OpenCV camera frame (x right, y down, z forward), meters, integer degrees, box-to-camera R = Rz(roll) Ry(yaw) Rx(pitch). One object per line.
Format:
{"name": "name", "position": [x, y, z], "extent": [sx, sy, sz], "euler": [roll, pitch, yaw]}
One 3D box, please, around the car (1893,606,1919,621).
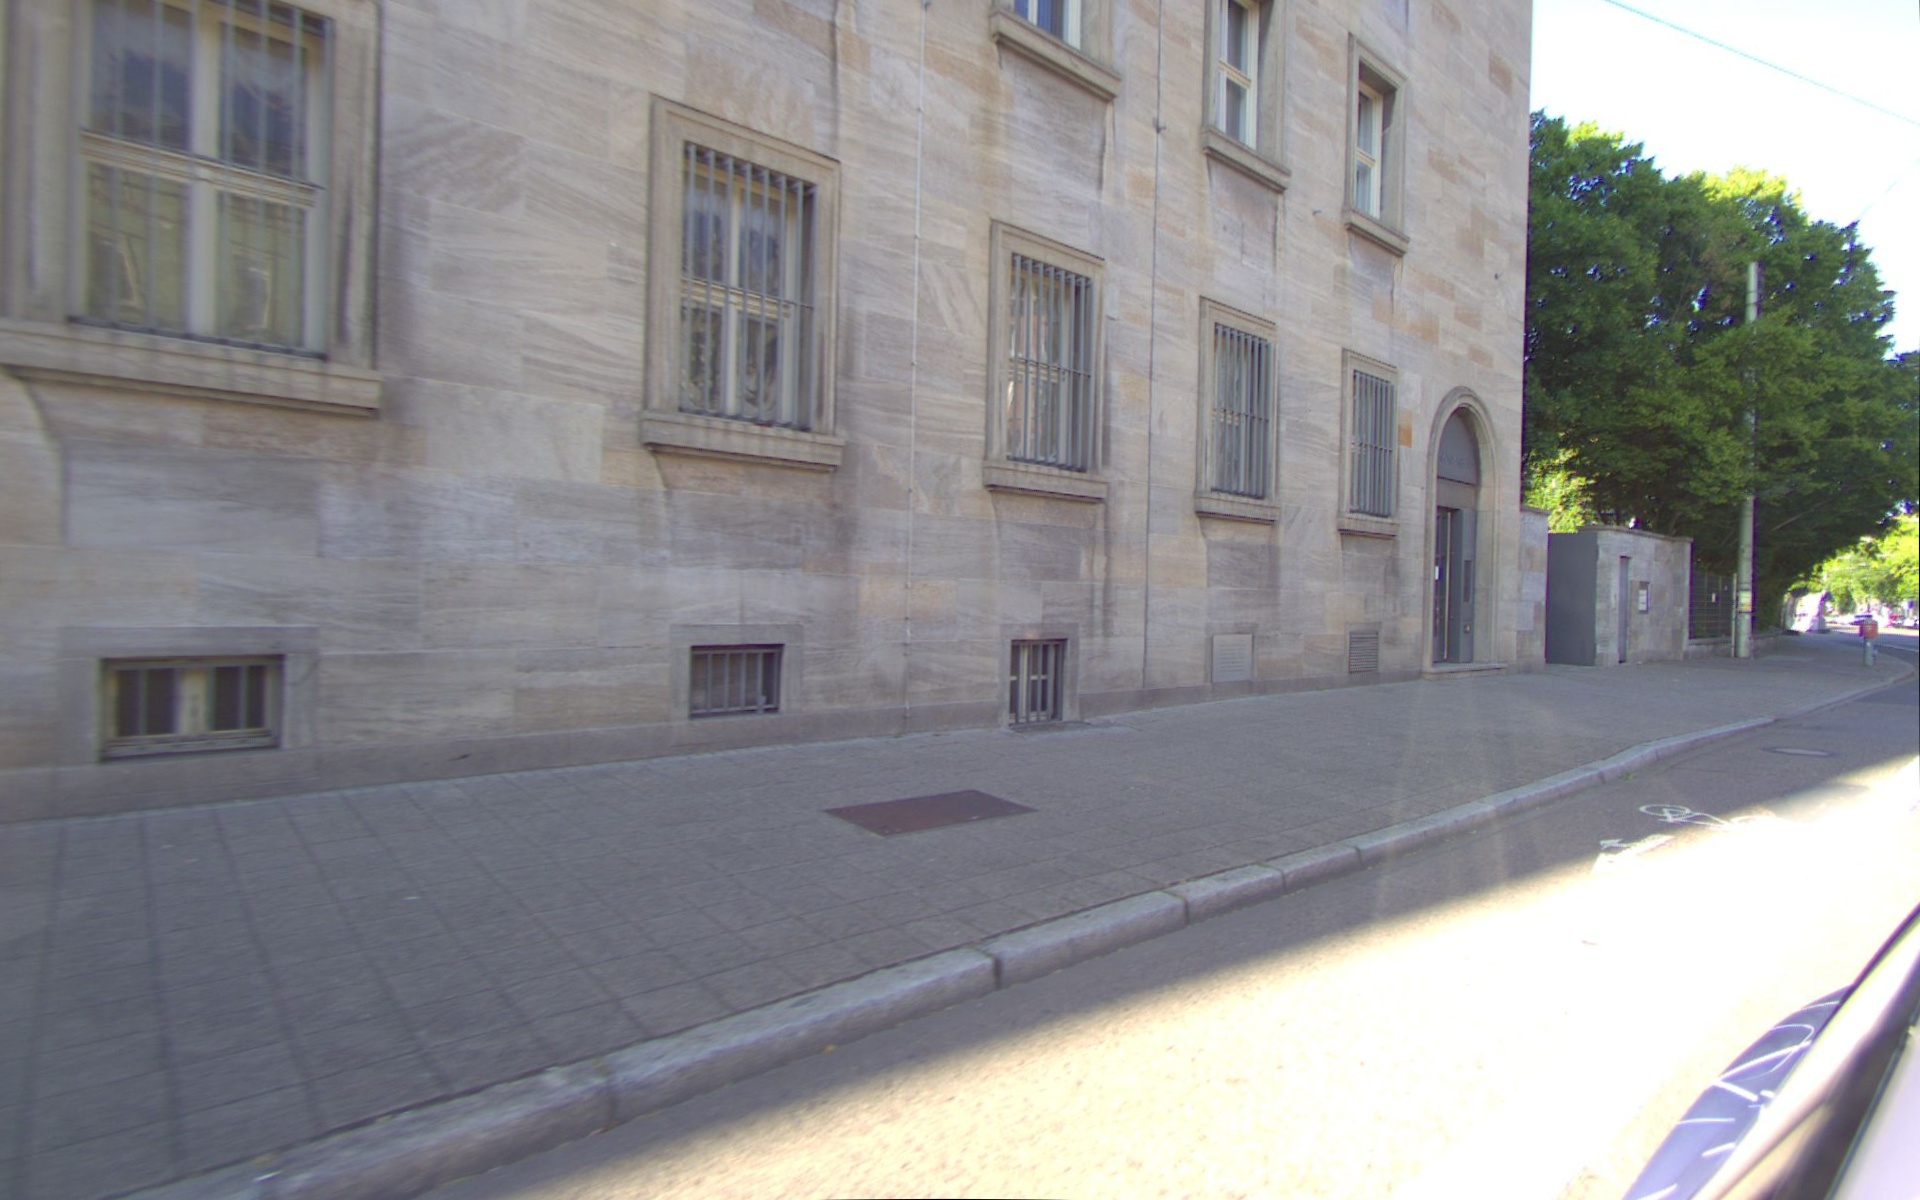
{"name": "car", "position": [110.889, 1.536, 117.226], "extent": [3.742, 1.614, 1.654], "euler": [-2, -1, 31]}

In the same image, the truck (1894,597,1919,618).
{"name": "truck", "position": [114.082, 0.918, 120.588], "extent": [3.749, 2.454, 1.651], "euler": [-2, -1, 36]}

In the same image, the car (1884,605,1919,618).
{"name": "car", "position": [118.039, 1.423, 126.256], "extent": [3.742, 1.614, 1.654], "euler": [-2, -1, 31]}

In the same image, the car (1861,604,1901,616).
{"name": "car", "position": [127.405, 1.372, 140.068], "extent": [3.742, 1.614, 1.654], "euler": [-2, -1, 31]}

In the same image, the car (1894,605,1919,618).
{"name": "car", "position": [116.171, 1.392, 122.868], "extent": [3.742, 1.614, 1.654], "euler": [-2, -1, 31]}
